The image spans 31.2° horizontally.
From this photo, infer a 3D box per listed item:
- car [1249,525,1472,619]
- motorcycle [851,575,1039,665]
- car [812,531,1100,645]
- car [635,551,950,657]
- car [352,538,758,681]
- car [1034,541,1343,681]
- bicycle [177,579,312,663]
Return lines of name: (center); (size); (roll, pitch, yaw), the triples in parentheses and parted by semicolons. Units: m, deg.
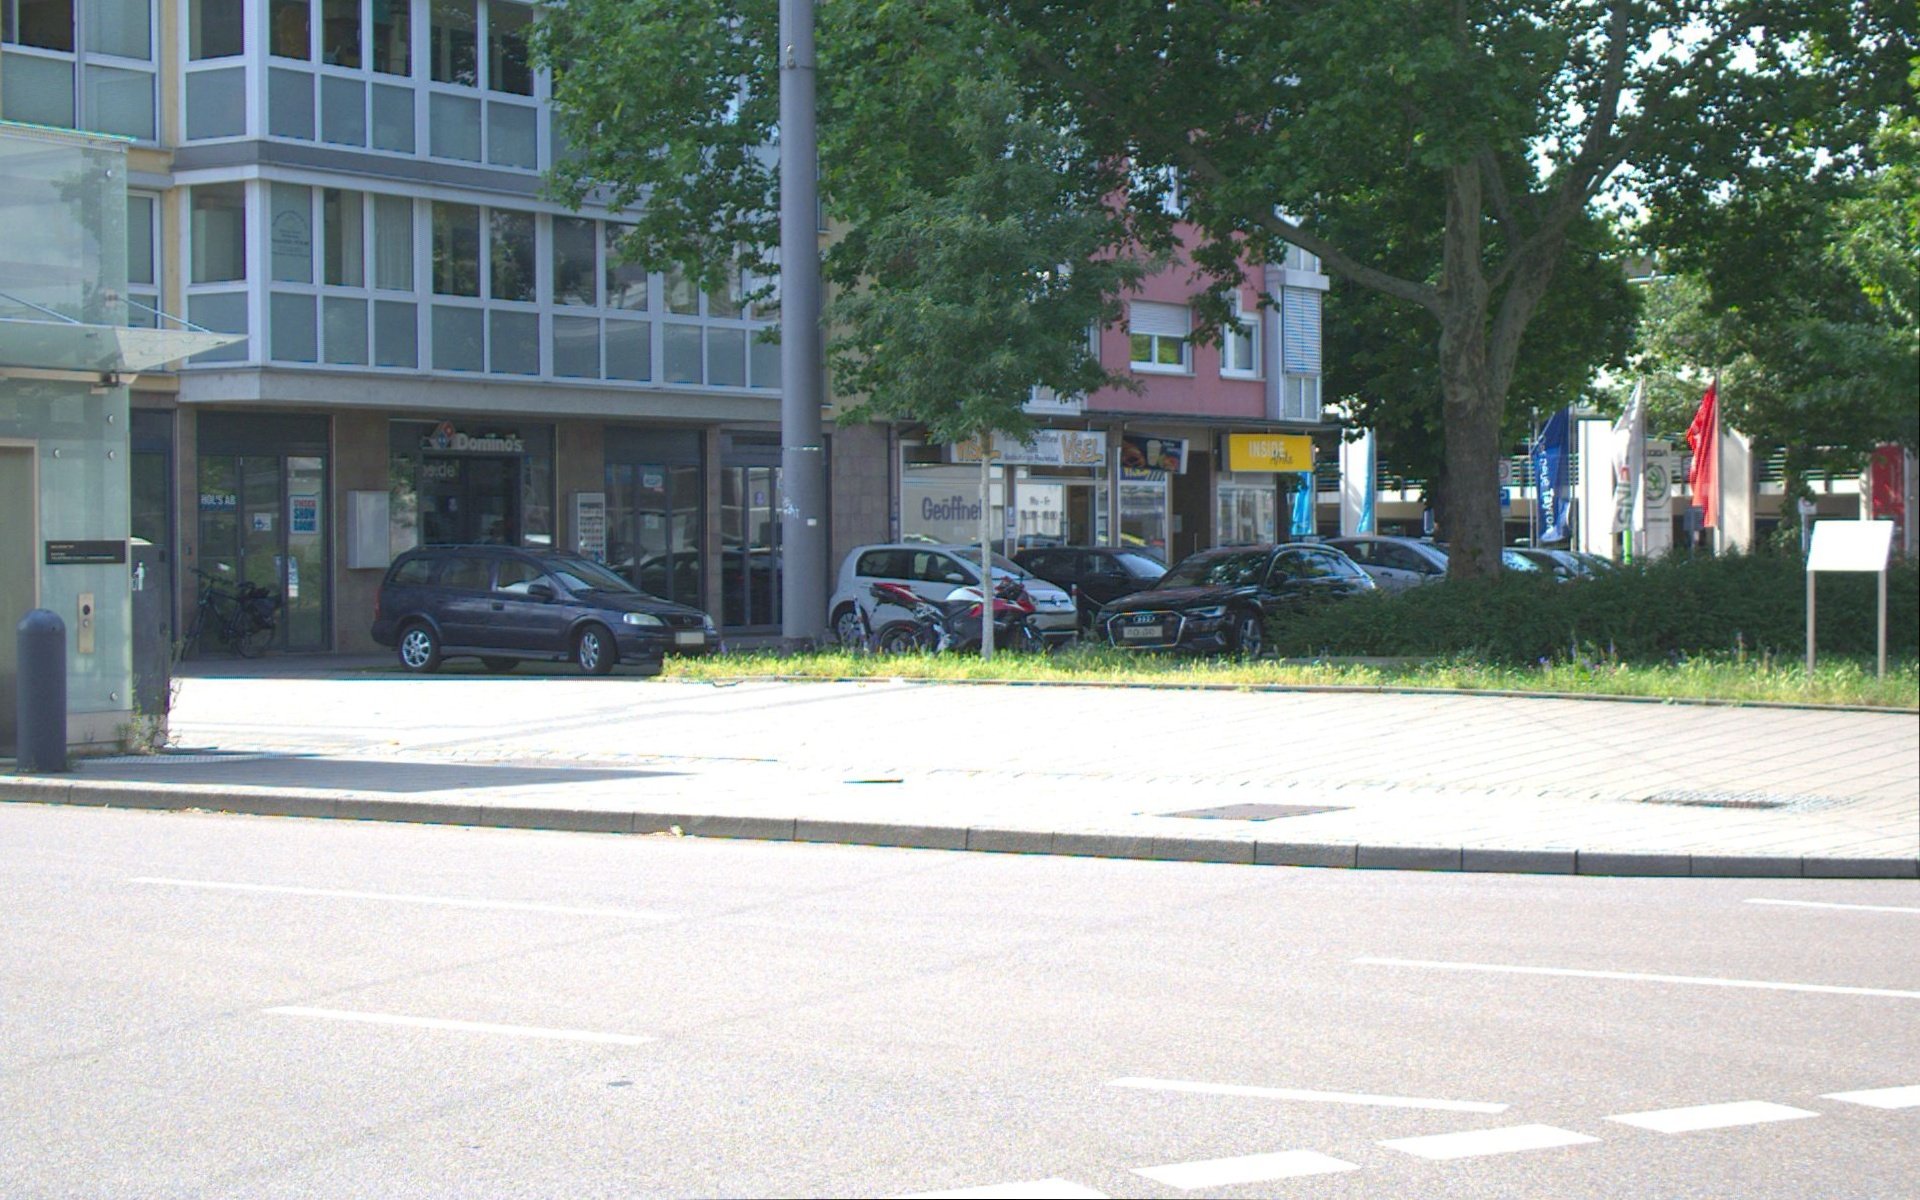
car: (7.178, -0.487, 61.750); (3.615, 1.588, 1.662); (-1, -1, 36)
motorcycle: (-0.159, 0.206, 36.002); (1.888, 0.899, 0.605); (-1, 1, -10)
car: (-0.067, -0.148, 48.907); (3.569, 1.525, 1.996); (-1, -1, 32)
car: (-2.250, 0.074, 45.737); (3.994, 1.322, 1.583); (-1, -1, 32)
car: (-4.735, 0.090, 40.060); (4.385, 1.579, 1.996); (1, 0, 32)
car: (2.747, 0.090, 40.654); (1.795, 1.415, 3.992); (4, 4, 35)
bicycle: (-8.829, 0.252, 42.488); (0.680, 1.016, 1.778); (0, 0, 26)
